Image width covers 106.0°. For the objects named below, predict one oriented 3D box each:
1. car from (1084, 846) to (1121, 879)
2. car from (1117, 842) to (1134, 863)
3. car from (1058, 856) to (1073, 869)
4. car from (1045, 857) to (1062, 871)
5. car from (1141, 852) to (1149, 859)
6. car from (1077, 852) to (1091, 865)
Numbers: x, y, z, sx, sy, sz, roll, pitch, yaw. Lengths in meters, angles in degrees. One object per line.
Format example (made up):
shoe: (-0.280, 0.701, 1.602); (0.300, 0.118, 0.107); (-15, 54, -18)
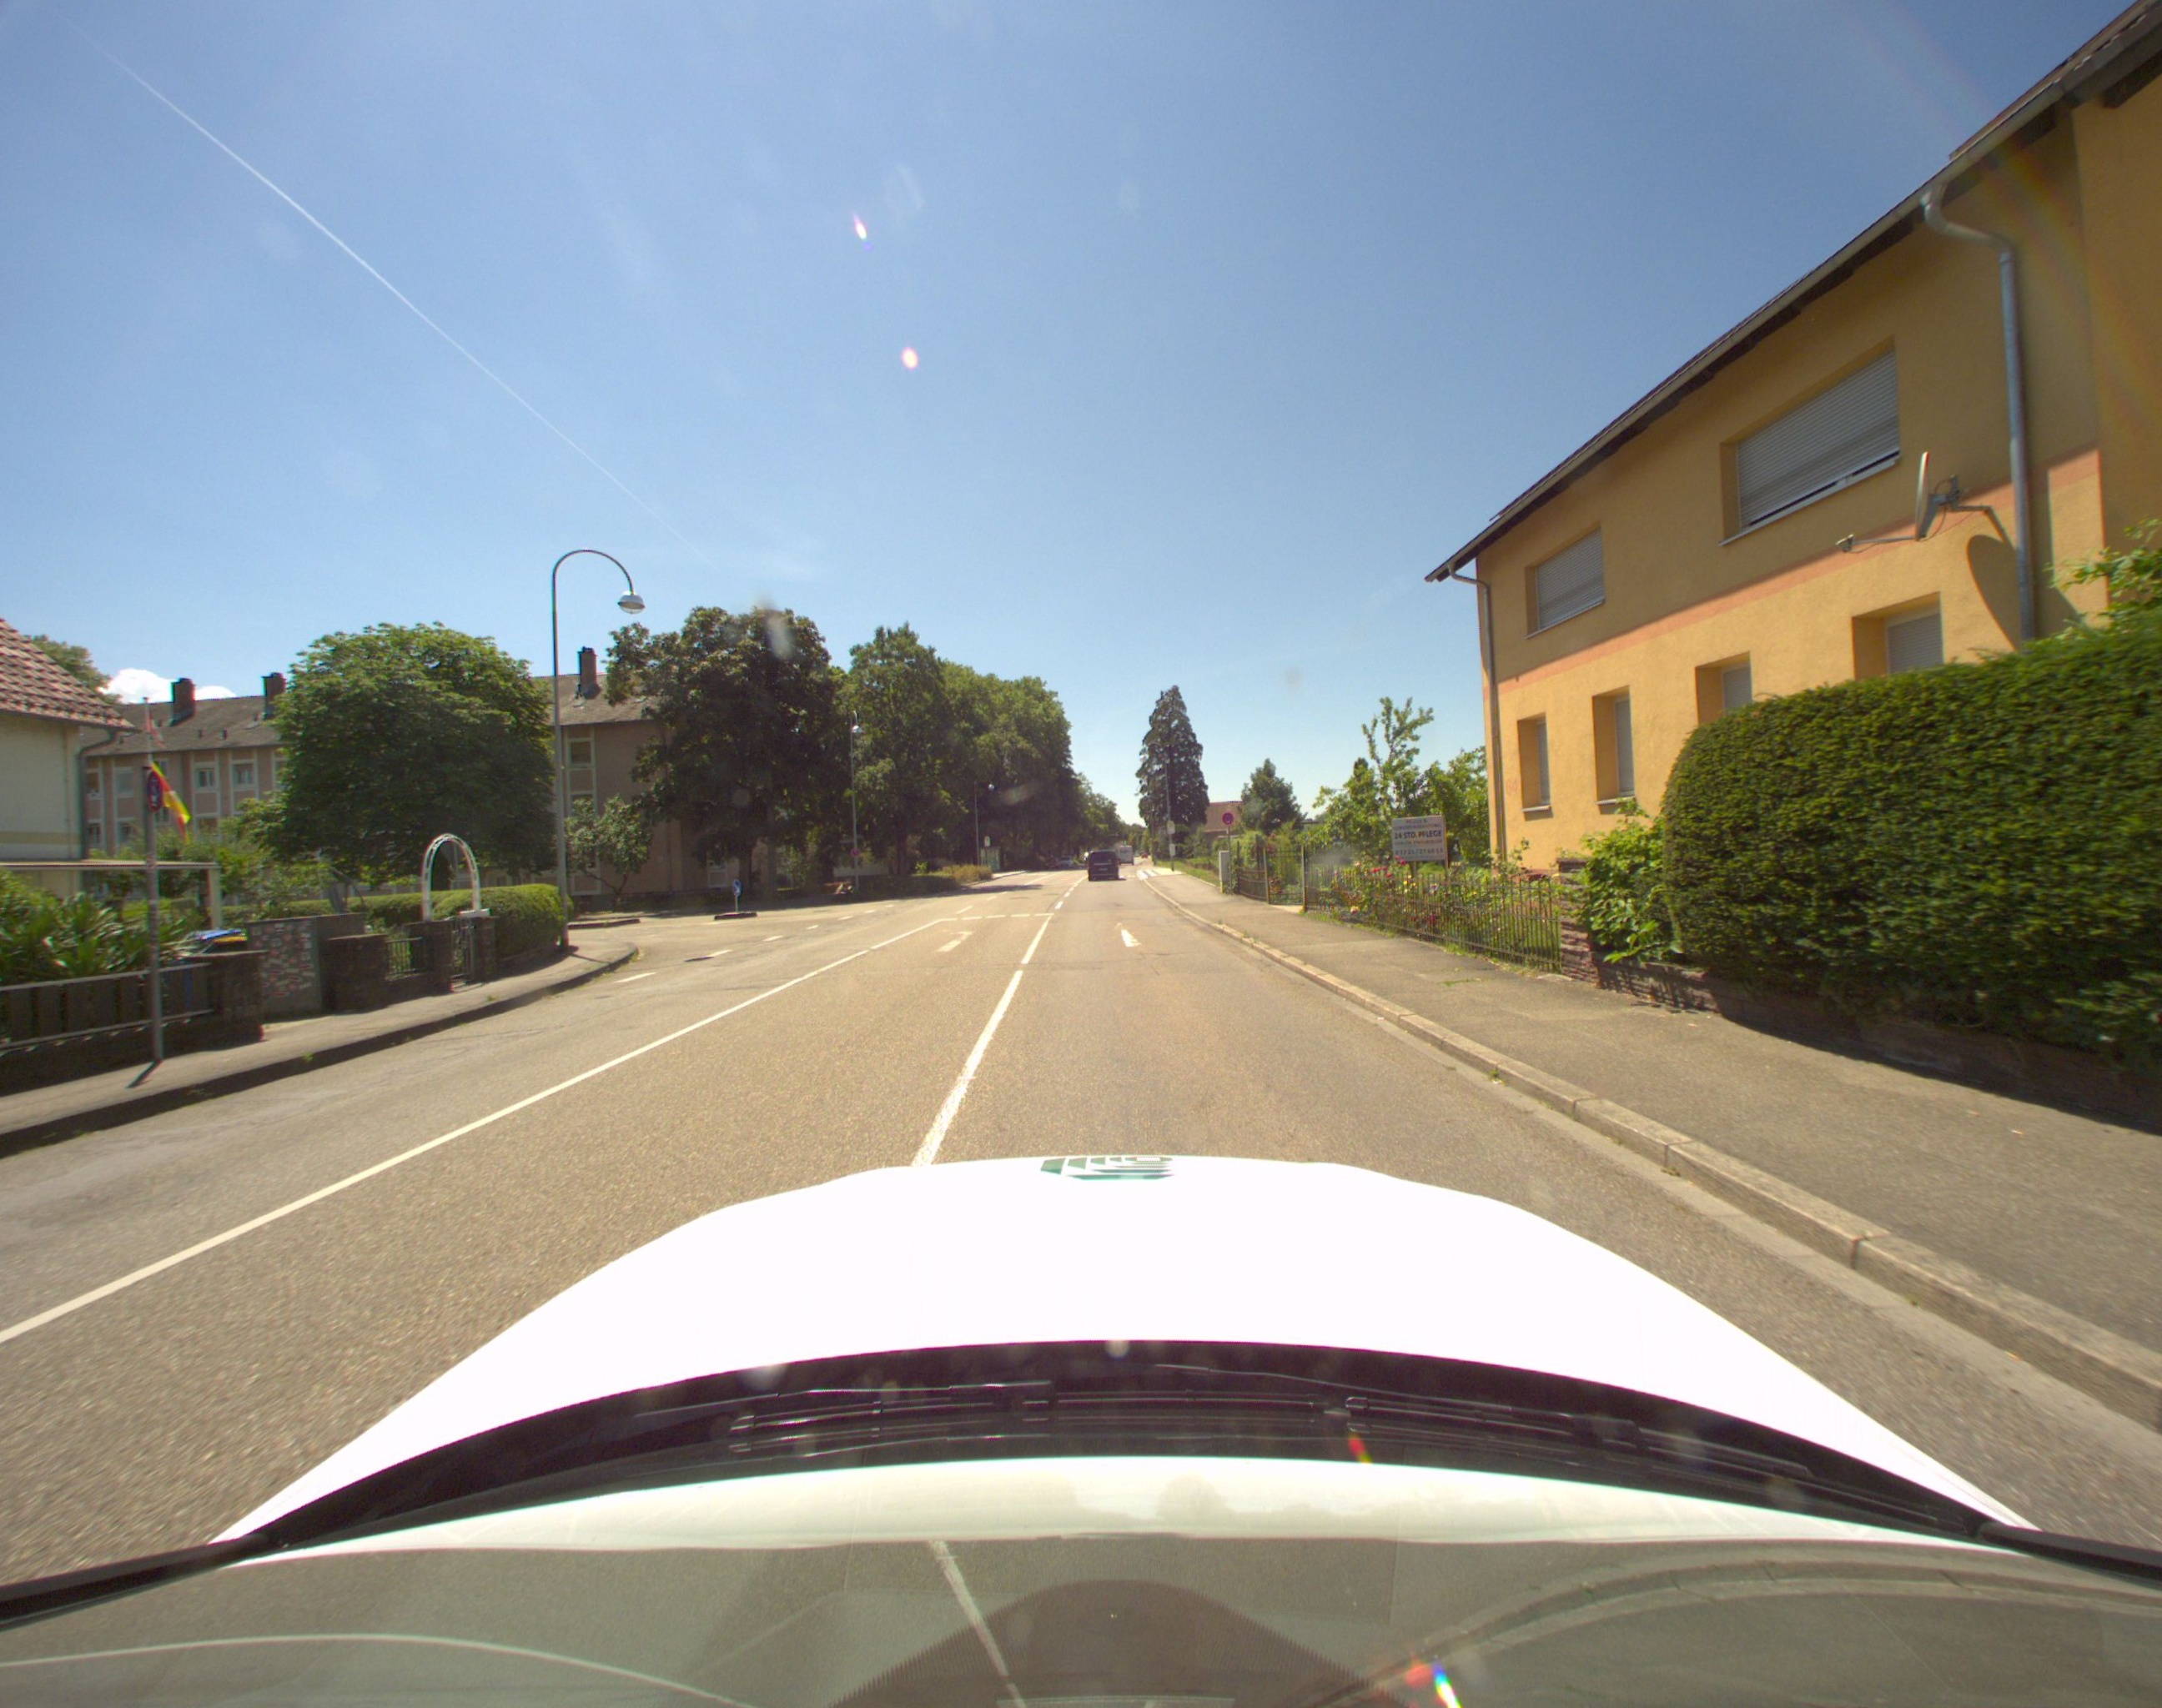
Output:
car: (1.341, 0.464, 49.803); (1.984, 1.893, 4.005); (-1, 1, 4)
car: (5.962, -0.255, 109.620); (2.112, 2.677, 5.665); (-1, 1, 2)
car: (-1.843, 0.997, 98.126); (1.686, 1.460, 3.638); (-1, 1, -1)
car: (-3.047, 1.048, 89.414); (1.544, 1.450, 3.693); (-1, 0, 3)
car: (17.883, 0.451, 227.194); (1.851, 1.643, 4.002); (-1, 1, 1)
car: (0.492, 0.739, 134.310); (1.988, 1.909, 4.987); (-2, 1, -2)
